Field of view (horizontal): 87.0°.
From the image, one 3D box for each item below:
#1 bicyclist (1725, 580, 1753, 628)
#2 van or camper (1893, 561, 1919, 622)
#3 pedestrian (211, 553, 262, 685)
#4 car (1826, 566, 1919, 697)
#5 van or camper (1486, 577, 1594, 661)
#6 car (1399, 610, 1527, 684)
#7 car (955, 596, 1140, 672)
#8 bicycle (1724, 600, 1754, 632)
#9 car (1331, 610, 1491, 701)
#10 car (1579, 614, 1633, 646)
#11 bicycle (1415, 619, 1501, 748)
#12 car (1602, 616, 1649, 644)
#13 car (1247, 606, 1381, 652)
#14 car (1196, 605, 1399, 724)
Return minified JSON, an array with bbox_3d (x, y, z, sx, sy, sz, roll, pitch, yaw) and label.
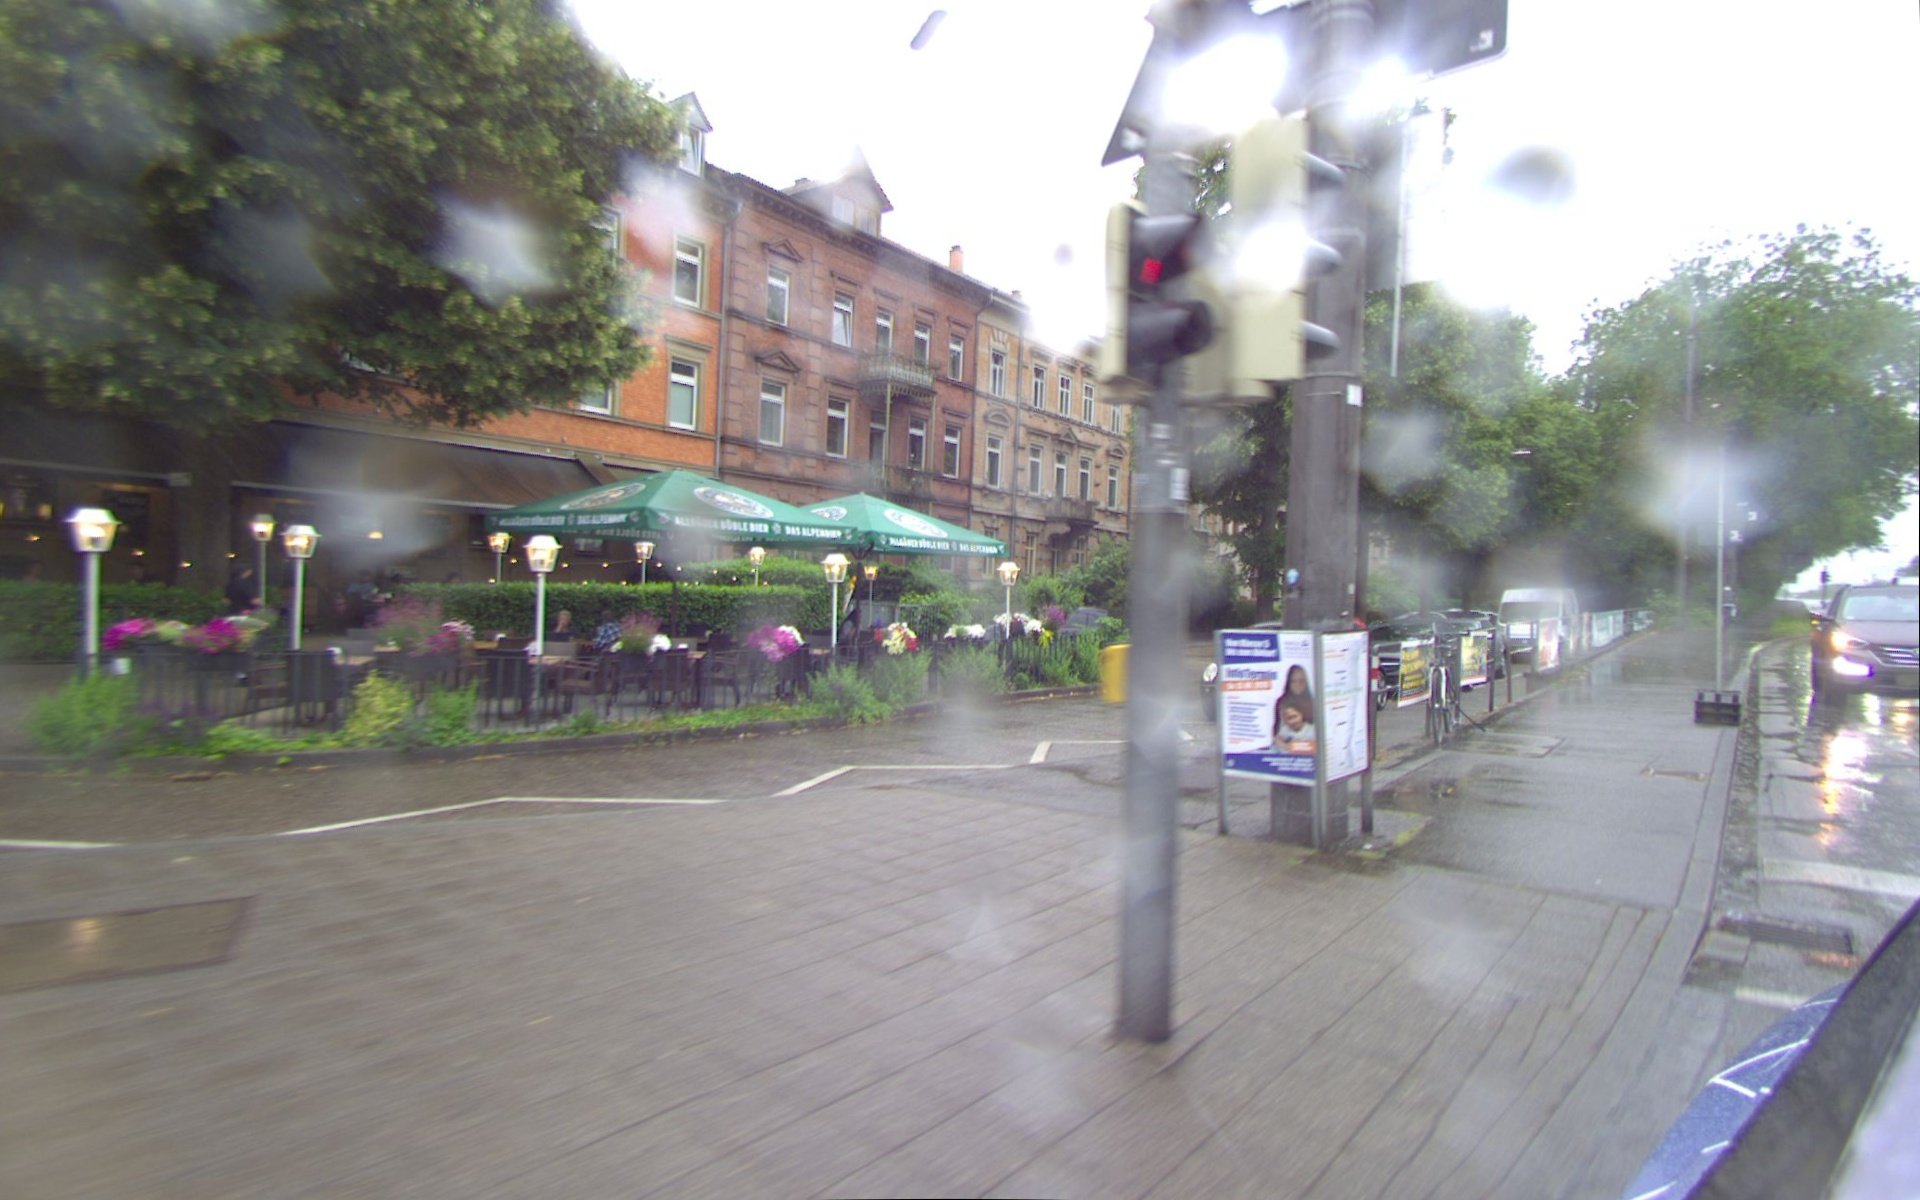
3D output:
[{"bbox_3d":[28.279,0.137,36.751,0.733,1.676,0.866,2,0,35],"label":"bicyclist"},{"bbox_3d":[42.011,-0.291,43.630,2.134,2.530,5.634,1,0,38],"label":"van or camper"},{"bbox_3d":[-9.479,0.239,13.263,0.548,1.665,0.383,4,2,41],"label":"pedestrian"},{"bbox_3d":[13.760,0.437,14.536,1.905,1.667,4.612,1,0,39],"label":"car"},{"bbox_3d":[20.003,0.617,34.765,2.322,2.624,6.011,1,0,38],"label":"van or camper"},{"bbox_3d":[11.597,1.009,23.205,1.725,1.488,4.155,1,0,40],"label":"car"},{"bbox_3d":[1.919,0.726,22.659,3.927,1.527,1.859,1,0,3],"label":"car"},{"bbox_3d":[28.222,0.578,36.672,0.736,1.086,1.842,3,1,35],"label":"bicycle"},{"bbox_3d":[8.617,0.965,19.147,1.743,1.482,4.155,1,0,39],"label":"car"},{"bbox_3d":[30.180,1.358,47.246,1.697,1.389,3.943,0,0,39],"label":"car"},{"bbox_3d":[5.020,0.788,10.148,0.421,1.183,1.768,-1,-2,38],"label":"bicycle"},{"bbox_3d":[37.377,1.655,56.796,1.802,1.473,3.942,2,0,39],"label":"car"},{"bbox_3d":[12.657,1.020,36.407,4.215,1.488,1.705,2,0,8],"label":"car"},{"bbox_3d":[5.070,0.862,14.989,1.645,1.519,3.463,0,-1,41],"label":"car"}]
